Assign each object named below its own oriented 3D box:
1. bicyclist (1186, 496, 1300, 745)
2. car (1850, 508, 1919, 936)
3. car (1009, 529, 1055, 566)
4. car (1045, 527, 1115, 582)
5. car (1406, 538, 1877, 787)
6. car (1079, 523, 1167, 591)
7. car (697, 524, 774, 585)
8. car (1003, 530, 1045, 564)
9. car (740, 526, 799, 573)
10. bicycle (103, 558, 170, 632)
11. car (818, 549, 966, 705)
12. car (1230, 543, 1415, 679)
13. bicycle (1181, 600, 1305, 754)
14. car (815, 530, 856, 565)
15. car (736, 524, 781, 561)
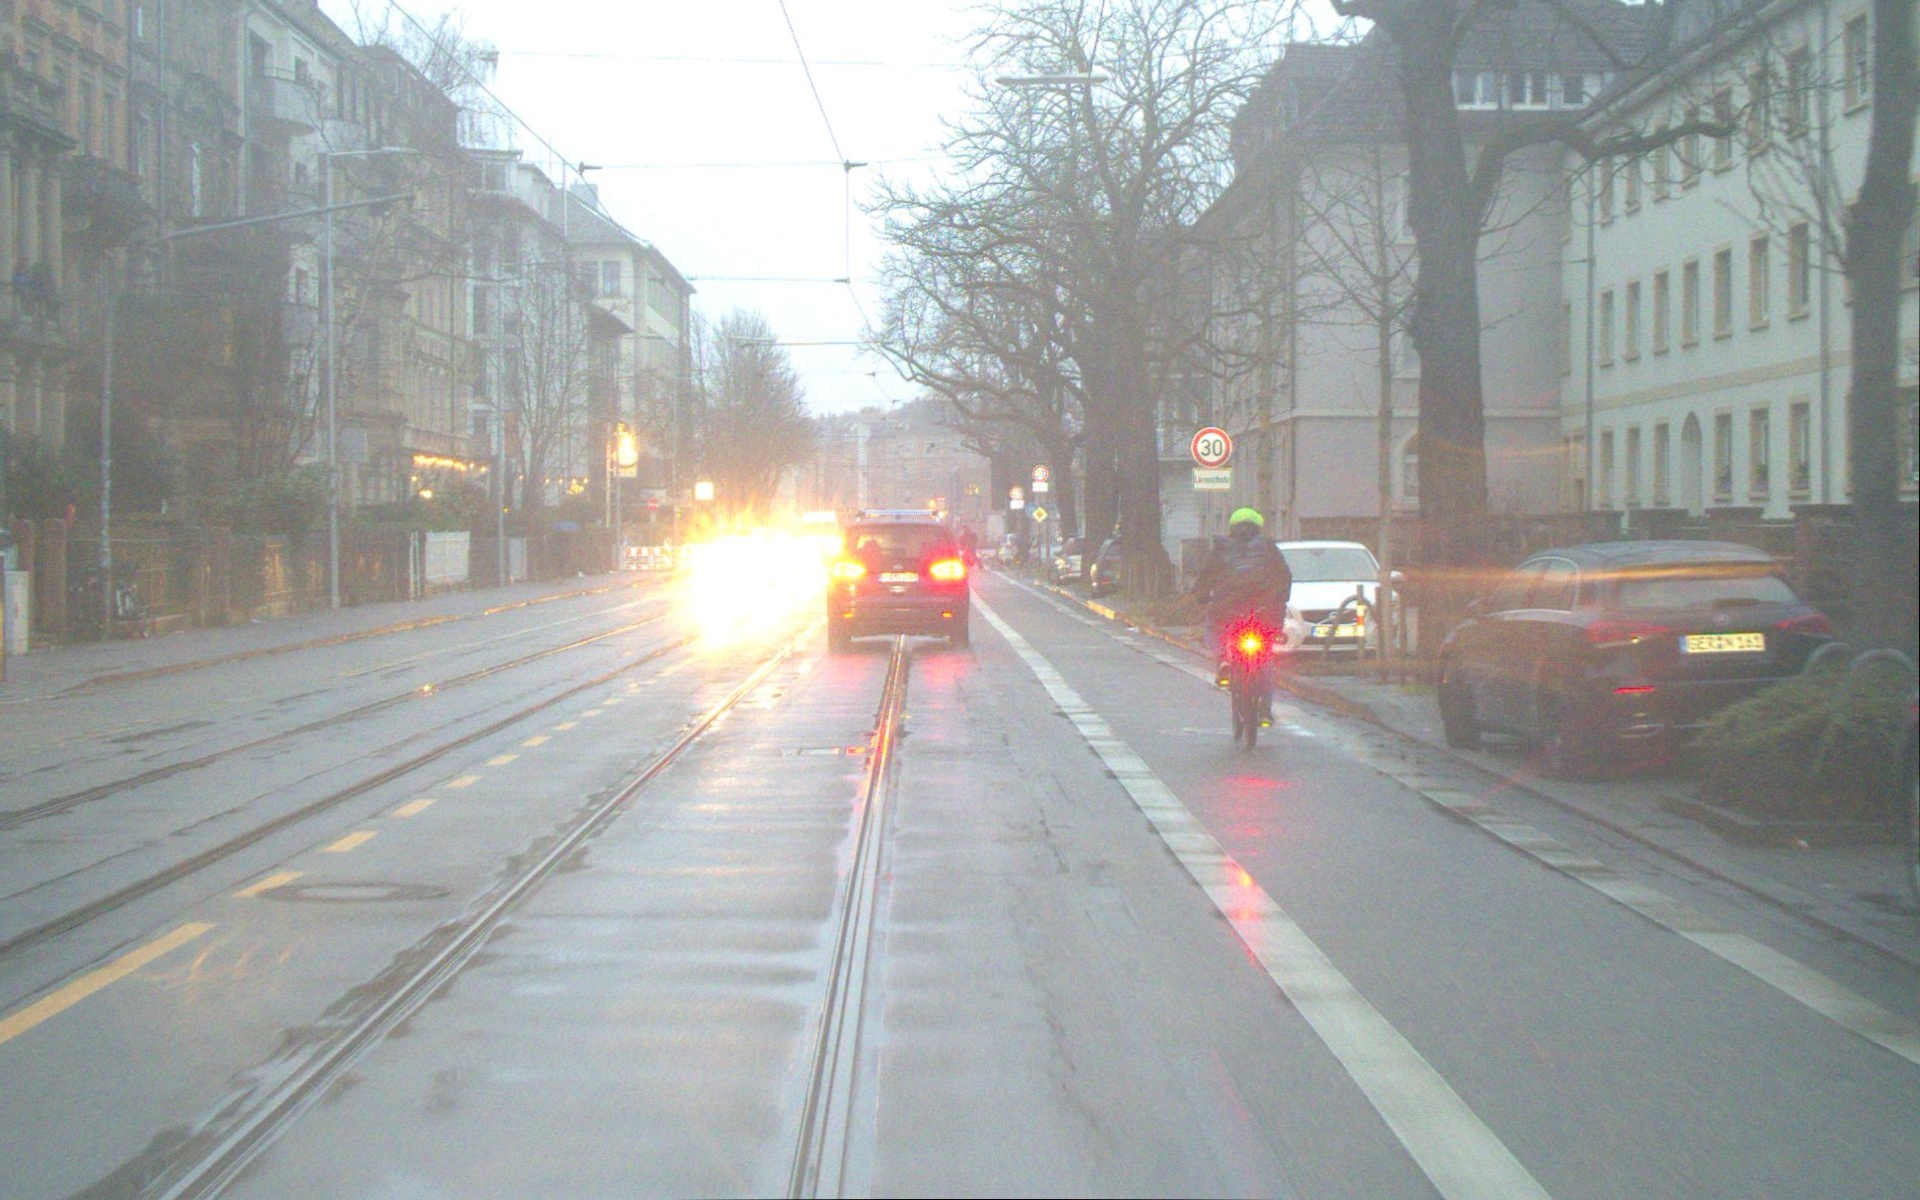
[{"bbox_3d":[1.992,0.136,24.304,0.730,1.730,0.765,1,1,1],"label":"bicyclist"},{"bbox_3d":[4.544,0.487,11.670,1.905,1.604,4.561,0,1,1],"label":"car"},{"bbox_3d":[2.976,-2.178,142.150,1.785,1.504,4.109,0,1,0],"label":"car"},{"bbox_3d":[3.356,-1.292,96.646,1.785,1.504,4.109,0,1,0],"label":"car"},{"bbox_3d":[4.335,0.329,22.582,1.878,1.415,4.345,-1,1,-5],"label":"car"},{"bbox_3d":[3.696,-1.006,78.620,1.785,1.504,4.109,0,1,0],"label":"car"},{"bbox_3d":[-6.200,-1.276,95.437,1.923,1.656,4.000,0,1,-1],"label":"car"},{"bbox_3d":[2.900,-2.412,155.551,1.785,1.504,4.109,0,1,0],"label":"car"},{"bbox_3d":[-6.812,-1.821,123.203,1.923,1.656,4.000,0,1,-1],"label":"car"},{"bbox_3d":[-11.534,-0.084,48.183,0.496,1.003,1.764,1,1,0],"label":"bicycle"},{"bbox_3d":[-0.922,0.314,45.871,1.802,1.864,4.018,3,1,-2],"label":"car"},{"bbox_3d":[4.230,0.089,40.605,1.785,1.504,4.108,0,1,1],"label":"car"},{"bbox_3d":[1.985,0.526,24.323,0.731,1.003,1.764,1,1,1],"label":"bicycle"},{"bbox_3d":[-6.091,-2.589,168.703,1.923,1.656,4.000,0,1,-1],"label":"car"},{"bbox_3d":[-9.305,-2.663,158.921,1.923,1.714,4.000,0,1,-1],"label":"car"}]
